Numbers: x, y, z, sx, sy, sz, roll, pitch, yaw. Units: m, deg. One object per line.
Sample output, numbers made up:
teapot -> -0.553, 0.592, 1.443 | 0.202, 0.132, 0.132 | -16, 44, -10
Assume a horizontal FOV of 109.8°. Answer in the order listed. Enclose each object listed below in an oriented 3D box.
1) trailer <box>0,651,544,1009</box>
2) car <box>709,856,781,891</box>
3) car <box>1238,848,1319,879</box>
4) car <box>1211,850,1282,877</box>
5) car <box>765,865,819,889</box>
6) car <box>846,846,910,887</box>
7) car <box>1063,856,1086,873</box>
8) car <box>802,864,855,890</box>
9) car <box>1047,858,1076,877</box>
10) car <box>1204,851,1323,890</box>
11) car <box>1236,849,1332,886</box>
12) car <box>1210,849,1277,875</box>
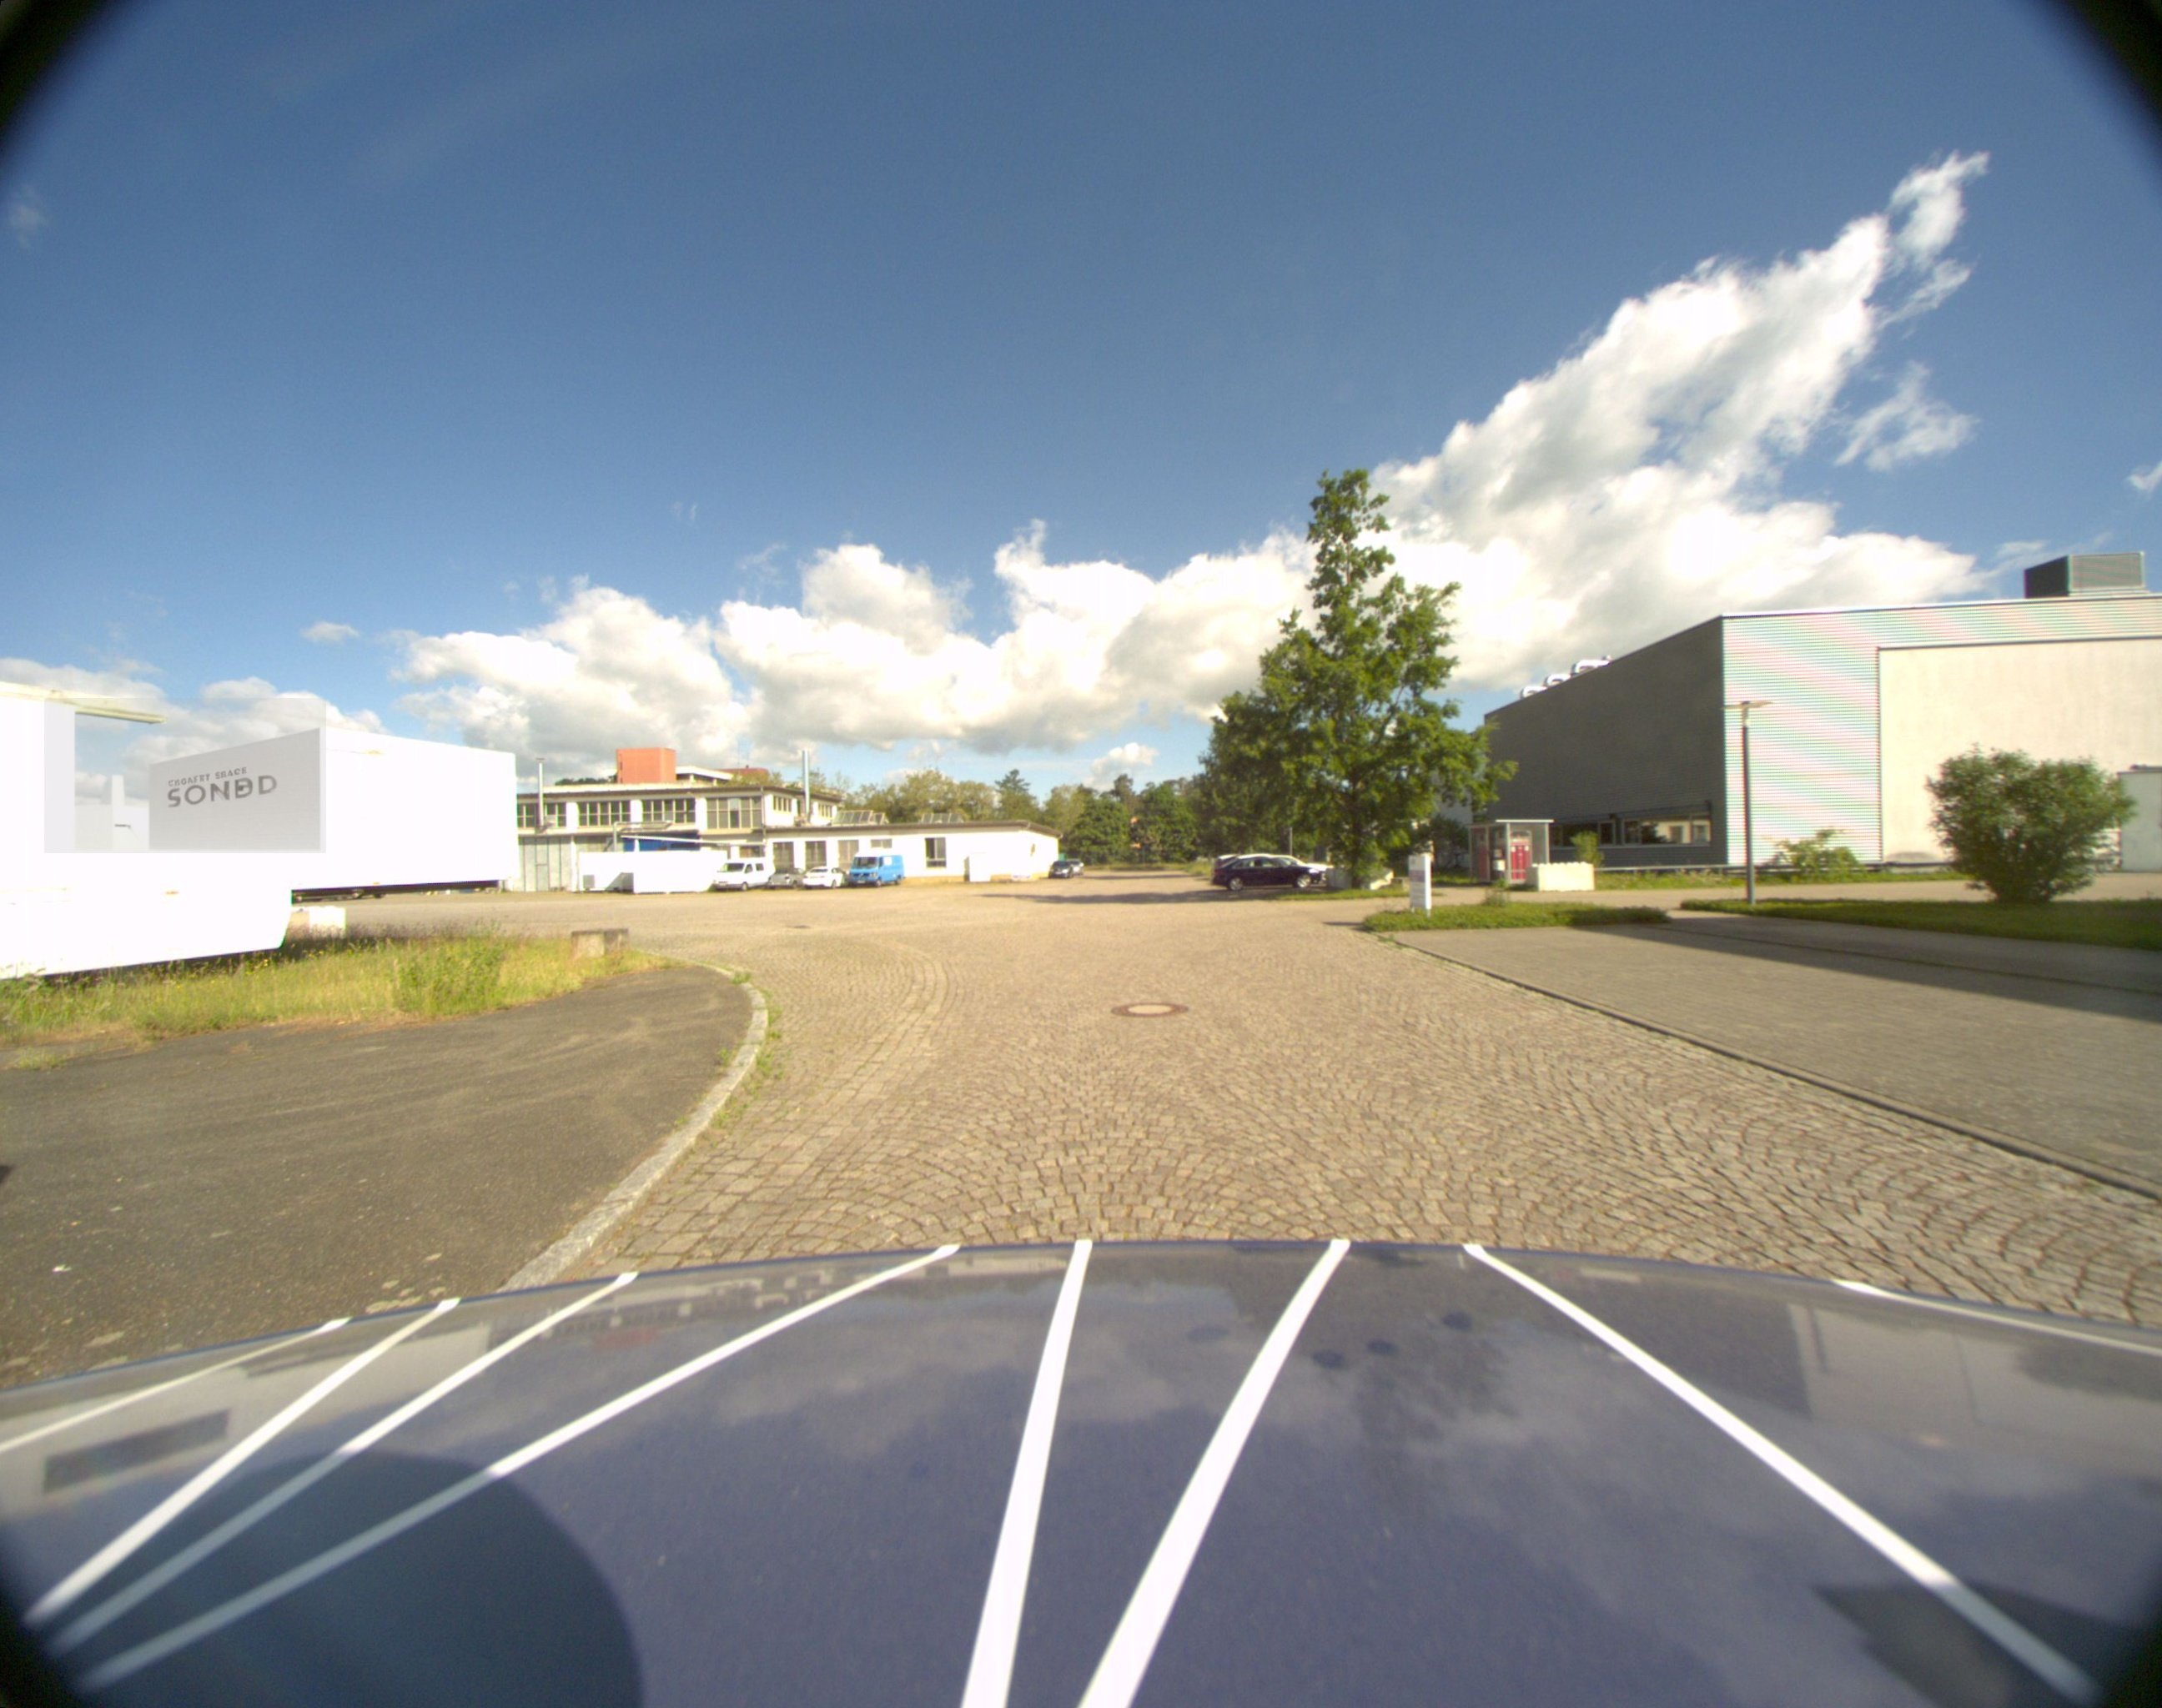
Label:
trailer -> -12.897, -0.227, 10.061 | 2.778, 3.888, 10.891 | -2, 0, 7
car -> -21.806, 1.228, 49.516 | 2.007, 2.069, 4.807 | -2, 1, 8
car -> 10.497, 0.488, 40.663 | 3.921, 1.438, 1.756 | -3, 0, 5
car -> 9.919, 0.557, 45.812 | 3.921, 1.409, 1.693 | -3, 0, 5
car -> -18.912, 1.494, 49.914 | 1.690, 1.390, 3.833 | -1, 0, 7
car -> -13.204, 0.798, 49.741 | 2.087, 2.468, 5.242 | -2, 0, 8
car -> -0.607, 0.957, 70.817 | 1.690, 1.427, 3.988 | -1, 0, 5
car -> -16.112, 1.431, 48.729 | 1.735, 1.397, 3.740 | -2, 1, 7
car -> -1.508, 1.044, 60.510 | 1.767, 1.427, 3.993 | -1, 0, 5
car -> 7.836, 0.711, 32.991 | 4.729, 1.414, 1.757 | -3, 0, 4
car -> 9.419, 0.631, 35.506 | 4.145, 1.451, 1.692 | -3, 0, 10
car -> 10.296, 0.525, 48.442 | 3.921, 1.427, 1.796 | -3, 0, 5
